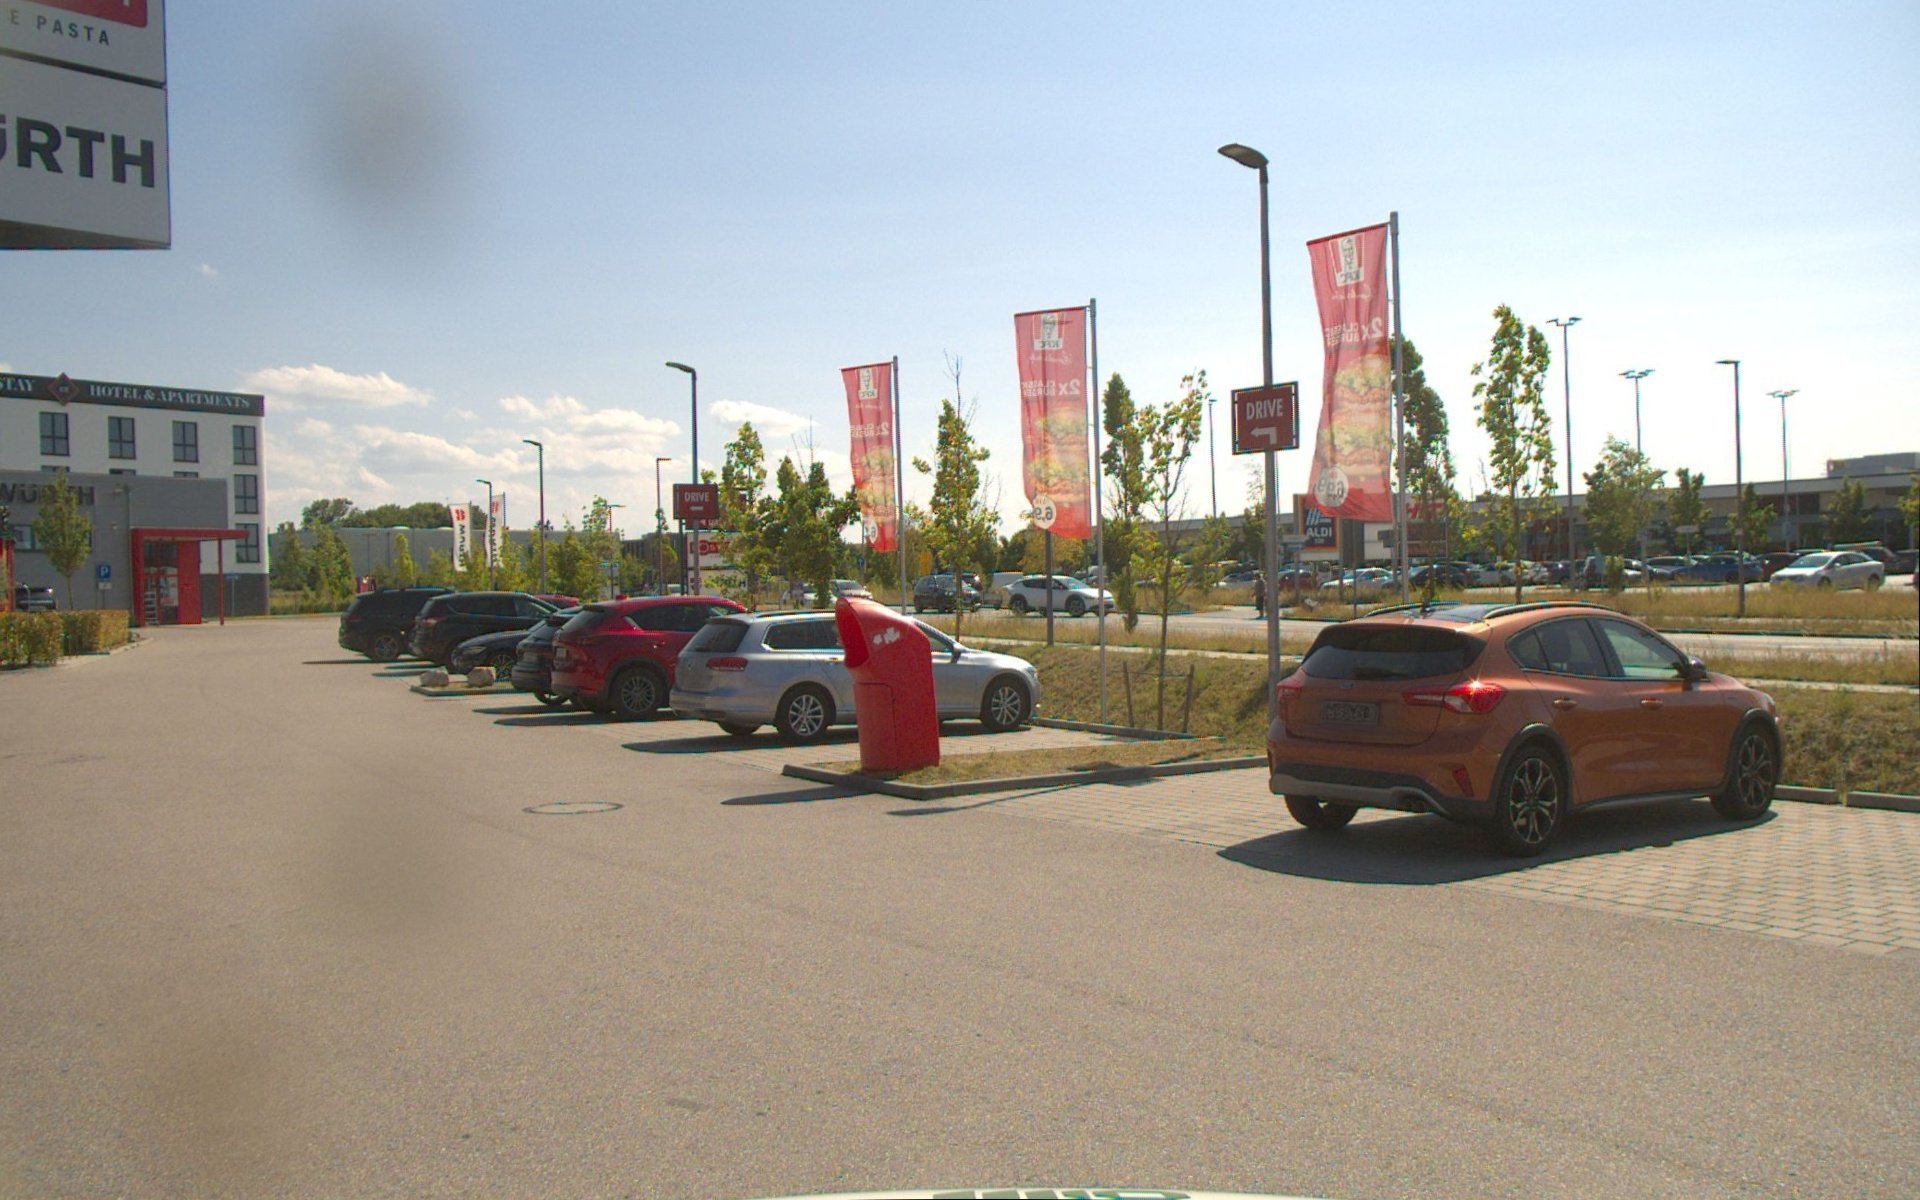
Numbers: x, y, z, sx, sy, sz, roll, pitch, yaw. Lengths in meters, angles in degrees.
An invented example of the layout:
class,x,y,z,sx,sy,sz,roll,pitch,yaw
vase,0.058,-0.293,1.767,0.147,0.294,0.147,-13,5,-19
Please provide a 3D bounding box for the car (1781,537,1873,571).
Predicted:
class,x,y,z,sx,sy,sz,roll,pitch,yaw
car,49.975,-2.660,95.379,1.940,1.888,4.334,-2,1,-43

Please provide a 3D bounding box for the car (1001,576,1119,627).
class,x,y,z,sx,sy,sz,roll,pitch,yaw
car,3.843,0.052,64.059,4.332,1.878,1.987,0,1,44

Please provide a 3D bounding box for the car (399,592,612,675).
class,x,y,z,sx,sy,sz,roll,pitch,yaw
car,-10.142,0.709,36.969,4.276,1.732,1.875,-1,0,-32

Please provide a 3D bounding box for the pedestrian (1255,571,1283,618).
class,x,y,z,sx,sy,sz,roll,pitch,yaw
pedestrian,10.919,-0.201,58.437,0.679,1.627,0.753,-1,1,-18

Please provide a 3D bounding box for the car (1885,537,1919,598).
class,x,y,z,sx,sy,sz,roll,pitch,yaw
car,32.020,-1.073,52.901,4.327,1.888,1.944,-1,1,-21

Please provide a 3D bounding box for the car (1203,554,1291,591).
class,x,y,z,sx,sy,sz,roll,pitch,yaw
car,16.651,-1.594,95.814,5.118,2.048,1.976,-2,1,-35

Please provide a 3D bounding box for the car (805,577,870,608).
class,x,y,z,sx,sy,sz,roll,pitch,yaw
car,-6.529,-0.412,87.974,1.968,1.530,4.621,-1,1,-24

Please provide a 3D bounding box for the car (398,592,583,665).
class,x,y,z,sx,sy,sz,roll,pitch,yaw
car,-11.306,0.637,39.845,4.021,1.637,1.879,-1,1,-28

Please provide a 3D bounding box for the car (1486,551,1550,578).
class,x,y,z,sx,sy,sz,roll,pitch,yaw
car,34.510,-2.176,102.345,3.413,1.579,1.657,0,1,41

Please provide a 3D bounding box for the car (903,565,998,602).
class,x,y,z,sx,sy,sz,roll,pitch,yaw
car,-0.530,-0.821,82.919,1.970,1.761,5.149,-2,1,-39

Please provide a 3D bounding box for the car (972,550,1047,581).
class,x,y,z,sx,sy,sz,roll,pitch,yaw
car,3.420,-2.403,113.765,5.016,2.048,1.976,-2,1,-35

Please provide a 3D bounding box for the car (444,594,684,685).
class,x,y,z,sx,sy,sz,roll,pitch,yaw
car,-7.868,0.745,32.862,4.379,1.666,1.881,-1,0,-25

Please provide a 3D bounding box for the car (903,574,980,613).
class,x,y,z,sx,sy,sz,roll,pitch,yaw
car,-0.869,-0.316,74.023,1.847,1.693,4.571,-1,1,-23

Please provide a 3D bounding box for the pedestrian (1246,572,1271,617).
class,x,y,z,sx,sy,sz,roll,pitch,yaw
pedestrian,10.701,-0.206,59.339,0.614,1.583,0.664,-1,1,-18

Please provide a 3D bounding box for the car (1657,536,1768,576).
class,x,y,z,sx,sy,sz,roll,pitch,yaw
car,36.461,-2.121,80.190,1.940,1.888,4.500,-2,1,-43

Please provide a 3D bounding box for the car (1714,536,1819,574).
class,x,y,z,sx,sy,sz,roll,pitch,yaw
car,41.833,-2.327,85.847,1.940,1.888,4.500,-2,1,-43

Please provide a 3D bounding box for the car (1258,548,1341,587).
class,x,y,z,sx,sy,sz,roll,pitch,yaw
car,18.668,-1.809,90.996,4.018,2.048,1.988,-1,1,-21

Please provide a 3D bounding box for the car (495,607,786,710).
class,x,y,z,sx,sy,sz,roll,pitch,yaw
car,-4.966,0.861,25.890,4.156,1.435,1.753,-1,0,-34

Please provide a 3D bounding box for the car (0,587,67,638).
class,x,y,z,sx,sy,sz,roll,pitch,yaw
car,-38.117,0.479,66.588,4.786,1.913,2.068,0,1,39

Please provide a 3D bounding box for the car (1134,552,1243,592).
class,x,y,z,sx,sy,sz,roll,pitch,yaw
car,13.878,-1.722,100.291,6.227,2.276,2.788,-2,1,-31

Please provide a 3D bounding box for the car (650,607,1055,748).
class,x,y,z,sx,sy,sz,roll,pitch,yaw
car,-1.218,0.838,19.573,4.541,1.437,1.722,-1,0,-32

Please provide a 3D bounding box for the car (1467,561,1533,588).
class,x,y,z,sx,sy,sz,roll,pitch,yaw
car,32.719,-1.520,100.212,3.413,1.579,1.657,0,1,41

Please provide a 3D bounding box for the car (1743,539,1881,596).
class,x,y,z,sx,sy,sz,roll,pitch,yaw
car,29.600,-1.124,57.472,4.210,1.888,1.988,-1,1,-21

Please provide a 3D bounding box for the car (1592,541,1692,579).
class,x,y,z,sx,sy,sz,roll,pitch,yaw
car,38.581,-2.232,93.569,4.845,2.048,2.070,0,1,43

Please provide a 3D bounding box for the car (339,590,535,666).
class,x,y,z,sx,sy,sz,roll,pitch,yaw
car,-13.267,0.670,41.990,4.520,1.791,1.879,-1,0,-27

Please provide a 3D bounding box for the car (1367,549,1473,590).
class,x,y,z,sx,sy,sz,roll,pitch,yaw
car,21.899,-1.467,78.731,4.654,1.878,1.986,-1,1,-24

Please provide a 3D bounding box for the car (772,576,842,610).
class,x,y,z,sx,sy,sz,roll,pitch,yaw
car,-7.479,-0.364,80.646,1.968,1.553,4.620,-1,1,-25

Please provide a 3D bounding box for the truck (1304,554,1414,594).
class,x,y,z,sx,sy,sz,roll,pitch,yaw
truck,20.164,-1.315,83.533,5.345,1.896,1.985,-1,1,-24

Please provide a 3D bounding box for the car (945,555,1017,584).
class,x,y,z,sx,sy,sz,roll,pitch,yaw
car,1.530,-2.197,118.786,5.016,2.048,1.976,-2,1,-35

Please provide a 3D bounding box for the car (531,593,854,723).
class,x,y,z,sx,sy,sz,roll,pitch,yaw
car,-3.800,0.758,23.669,4.176,1.666,1.930,-1,0,-32

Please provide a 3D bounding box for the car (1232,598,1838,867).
class,x,y,z,sx,sy,sz,roll,pitch,yaw
car,4.033,0.752,11.333,4.304,1.495,1.810,0,0,-36
